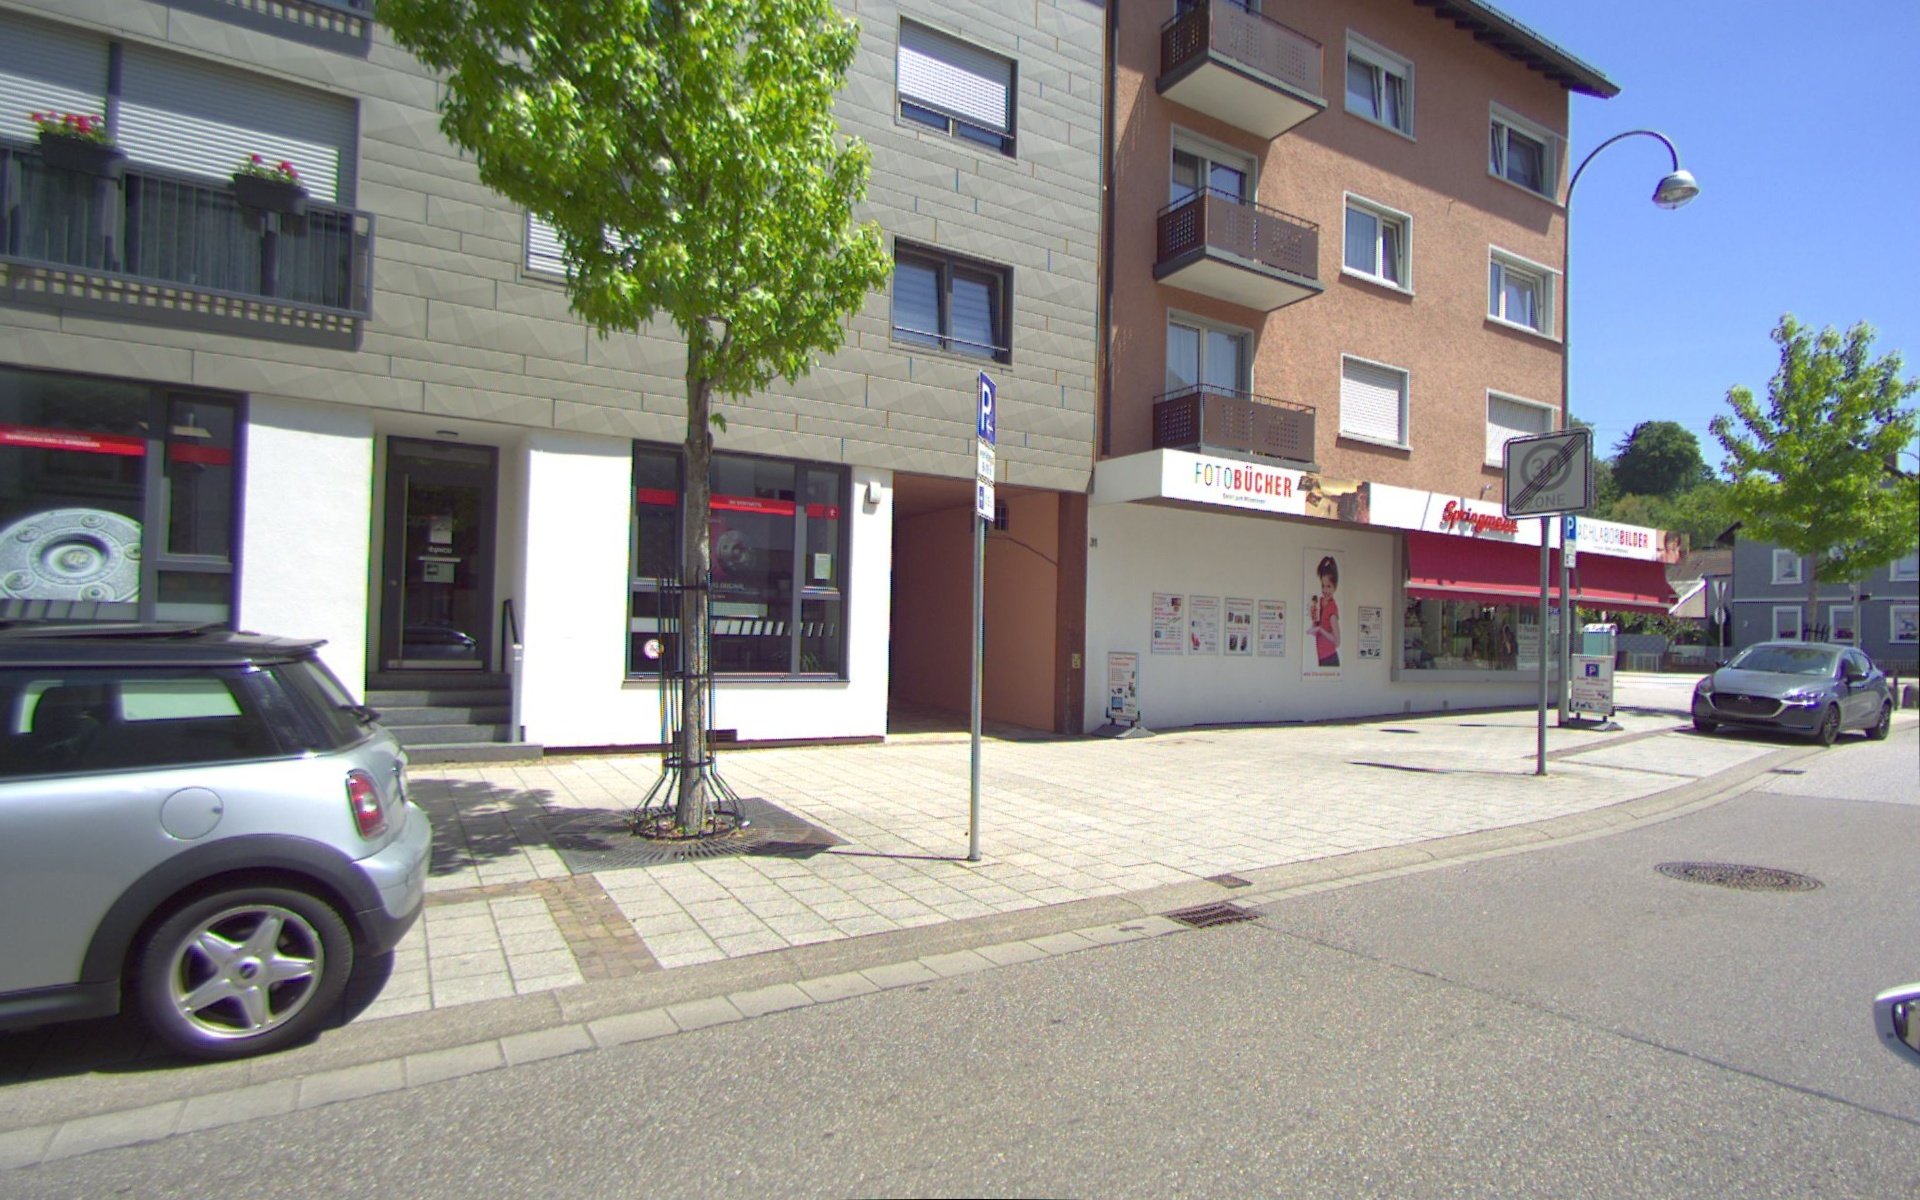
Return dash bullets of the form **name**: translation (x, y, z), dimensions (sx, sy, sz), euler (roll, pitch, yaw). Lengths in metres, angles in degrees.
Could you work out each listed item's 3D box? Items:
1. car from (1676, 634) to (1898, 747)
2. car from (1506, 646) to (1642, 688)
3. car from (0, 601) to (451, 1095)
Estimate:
- **car**: translation (13.191, 1.350, 15.965), dimensions (4.019, 1.506, 1.656), euler (2, 1, -35)
- **car**: translation (24.297, 2.615, 39.833), dimensions (4.376, 1.476, 1.758), euler (-1, -2, 43)
- **car**: translation (-3.780, 0.751, 3.467), dimensions (3.507, 1.493, 1.614), euler (2, -2, -31)
